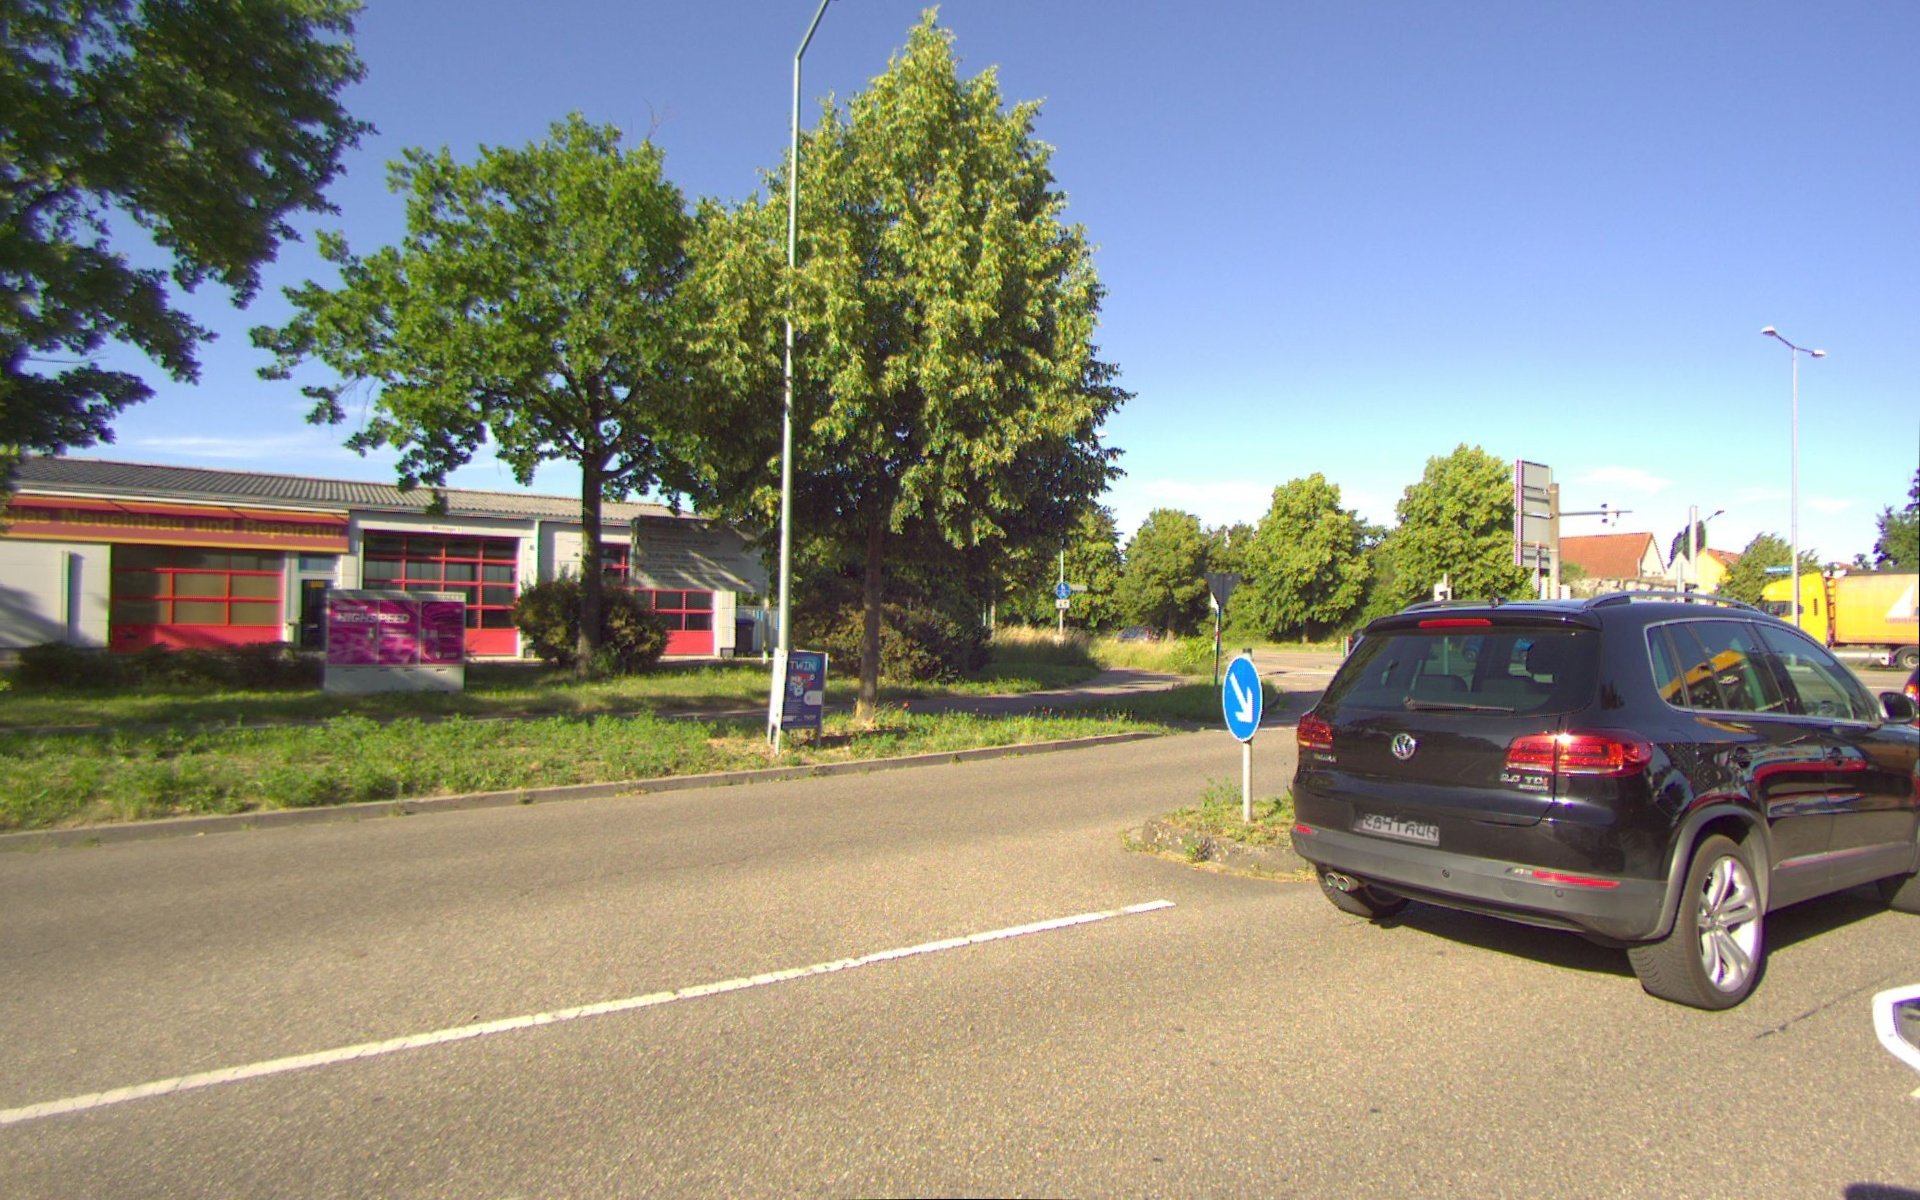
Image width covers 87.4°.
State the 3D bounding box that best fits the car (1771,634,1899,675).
[{"bbox_3d":[38.197,2.351,43.921,1.678,1.633,3.961,1,-1,-35],"label":"car"}]

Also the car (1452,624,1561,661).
[{"bbox_3d":[23.618,1.821,43.505,1.668,1.403,3.817,2,-1,-38],"label":"car"}]

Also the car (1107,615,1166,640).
[{"bbox_3d":[12.213,1.891,69.840,1.680,1.573,3.959,2,-1,-36],"label":"car"}]

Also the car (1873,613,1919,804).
[{"bbox_3d":[10.249,0.933,9.194,3.987,1.642,1.745,0,-1,-31],"label":"car"}]

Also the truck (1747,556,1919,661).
[{"bbox_3d":[36.600,0.381,41.260,2.449,4.051,6.354,1,-1,-36],"label":"truck"}]

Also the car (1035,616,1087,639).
[{"bbox_3d":[8.057,2.197,80.520,1.982,1.737,3.957,2,-1,-37],"label":"car"}]

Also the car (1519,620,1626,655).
[{"bbox_3d":[28.523,1.719,46.880,1.550,1.461,3.960,2,-1,-35],"label":"car"}]

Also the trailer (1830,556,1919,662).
[{"bbox_3d":[40.026,0.337,36.441,2.446,4.083,12.647,1,-1,-35],"label":"trailer"}]

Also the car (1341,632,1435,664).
[{"bbox_3d":[20.203,2.252,47.522,1.494,1.330,3.817,2,-1,-38],"label":"car"}]

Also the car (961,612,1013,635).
[{"bbox_3d":[2.211,1.951,83.358,1.982,1.737,4.493,2,-1,-37],"label":"car"}]

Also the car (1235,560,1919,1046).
[{"bbox_3d":[3.544,0.815,5.331,3.957,1.695,1.812,2,-3,-31],"label":"car"}]
